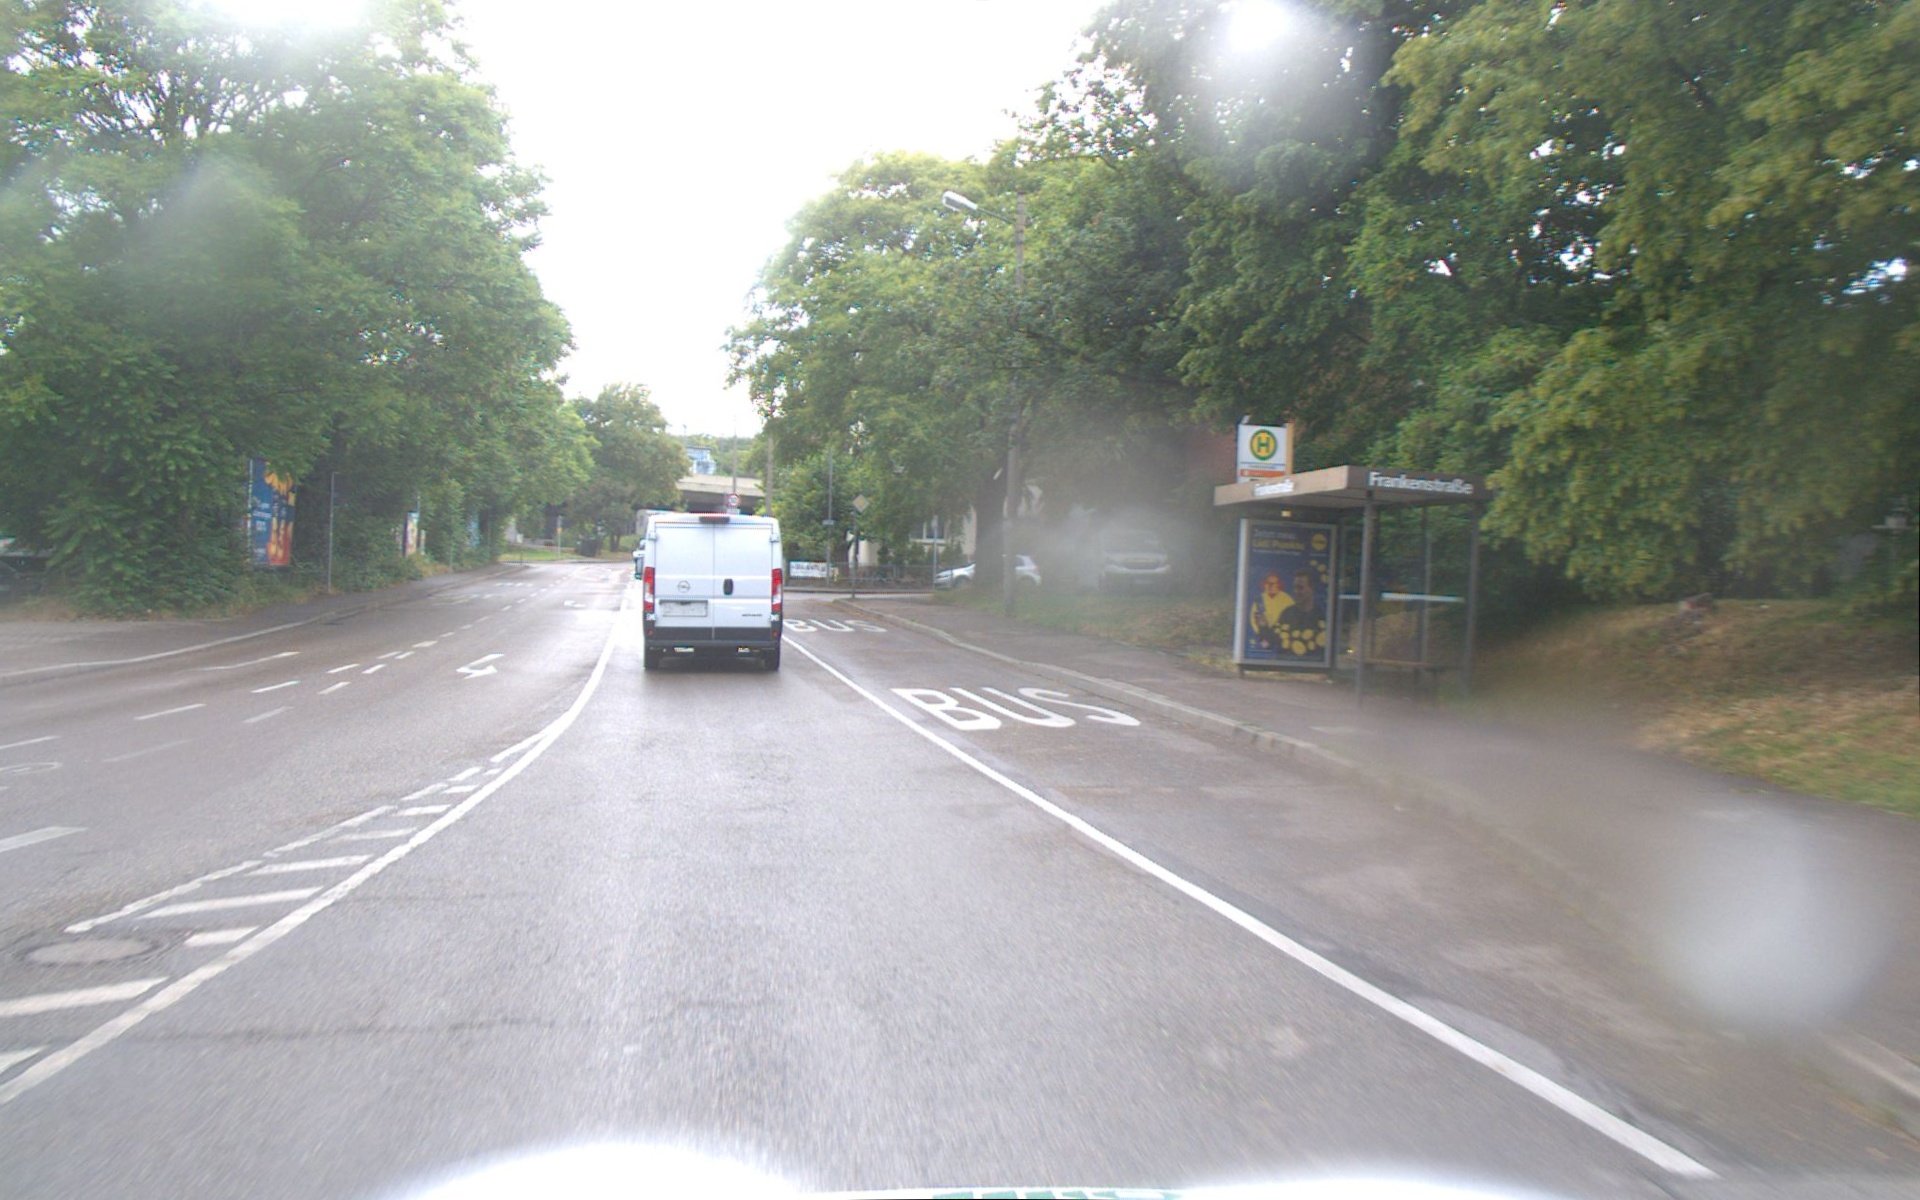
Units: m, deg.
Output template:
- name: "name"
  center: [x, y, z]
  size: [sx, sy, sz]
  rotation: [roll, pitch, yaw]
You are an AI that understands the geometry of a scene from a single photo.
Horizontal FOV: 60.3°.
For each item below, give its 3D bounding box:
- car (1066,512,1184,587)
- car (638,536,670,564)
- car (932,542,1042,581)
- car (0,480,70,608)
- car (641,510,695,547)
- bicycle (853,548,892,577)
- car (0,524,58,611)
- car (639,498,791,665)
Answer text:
- name: "car"
  center: [4.398, -1.380, 44.966]
  size: [1.956, 1.836, 5.139]
  rotation: [2, 2, -8]
- name: "car"
  center: [-18.383, -3.016, 99.535]
  size: [1.804, 1.560, 4.193]
  rotation: [2, 2, -10]
- name: "car"
  center: [1.021, -1.459, 62.952]
  size: [3.919, 1.447, 1.698]
  rotation: [-1, 1, -14]
- name: "car"
  center: [-21.005, -1.308, 35.665]
  size: [2.093, 2.576, 5.527]
  rotation: [1, 3, -40]
- name: "car"
  center: [-25.770, -6.300, 146.233]
  size: [2.480, 3.070, 7.218]
  rotation: [2, 2, 8]
- name: "bicycle"
  center: [-3.497, -1.490, 65.949]
  size: [1.541, 1.134, 0.457]
  rotation: [0, 2, -8]
- name: "car"
  center: [-19.647, -0.713, 31.507]
  size: [4.026, 1.569, 2.002]
  rotation: [3, 2, 15]
- name: "car"
  center: [-3.828, -0.303, 25.712]
  size: [2.107, 2.323, 5.052]
  rotation: [0, 1, -9]
